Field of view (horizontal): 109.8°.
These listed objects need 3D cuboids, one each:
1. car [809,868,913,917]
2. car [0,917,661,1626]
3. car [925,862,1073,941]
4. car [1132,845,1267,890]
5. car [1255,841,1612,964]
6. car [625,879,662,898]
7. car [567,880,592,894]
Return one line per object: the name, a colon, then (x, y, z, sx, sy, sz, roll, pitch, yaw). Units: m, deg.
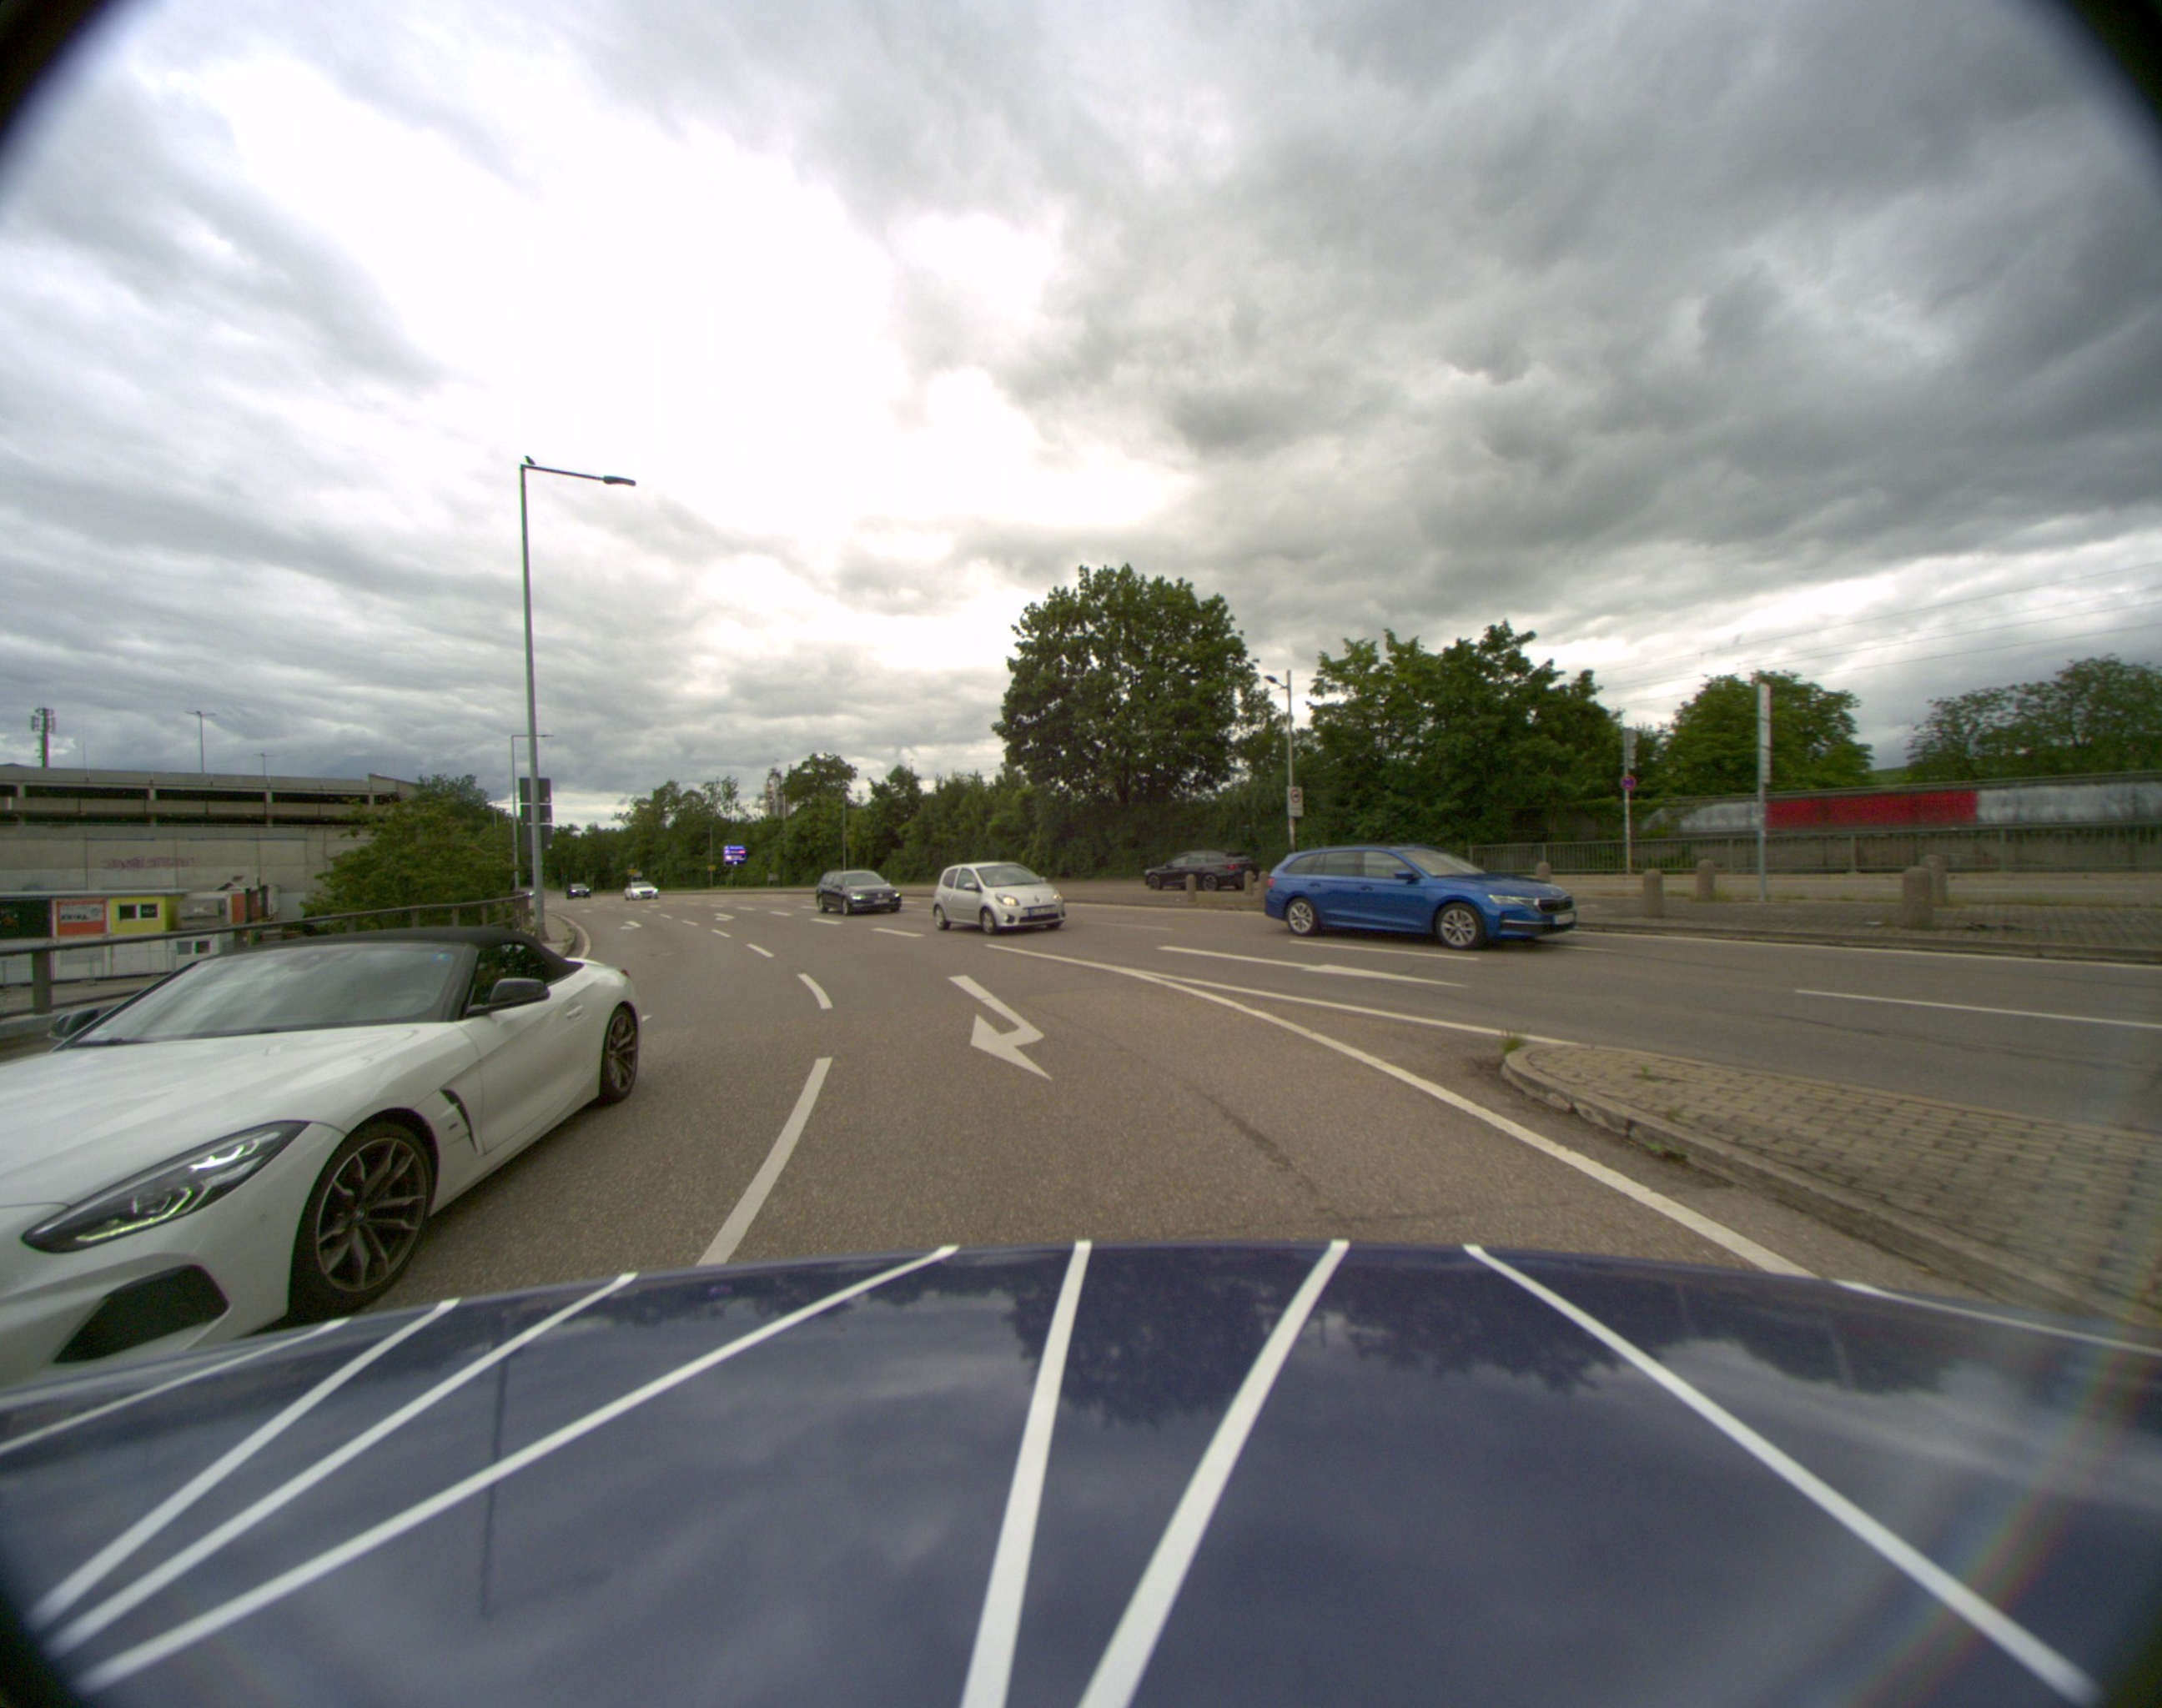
car: (-7.487, 1.249, 25.614, 1.869, 1.408, 4.327, -3, 0, -37)
car: (-3.773, 1.184, 3.650, 1.811, 1.284, 4.258, -3, 1, -12)
car: (-1.854, 0.947, 16.273, 1.613, 1.408, 3.582, -3, 0, -34)
car: (4.184, 0.526, 27.448, 1.959, 1.448, 4.609, -3, 0, -41)
car: (4.984, 0.627, 11.461, 1.846, 1.408, 4.569, -3, 0, -32)
car: (-35.052, 2.739, 60.844, 1.869, 1.408, 4.327, -3, 0, -39)
car: (-56.872, 3.735, 86.154, 1.869, 1.408, 4.327, -3, 0, -40)
